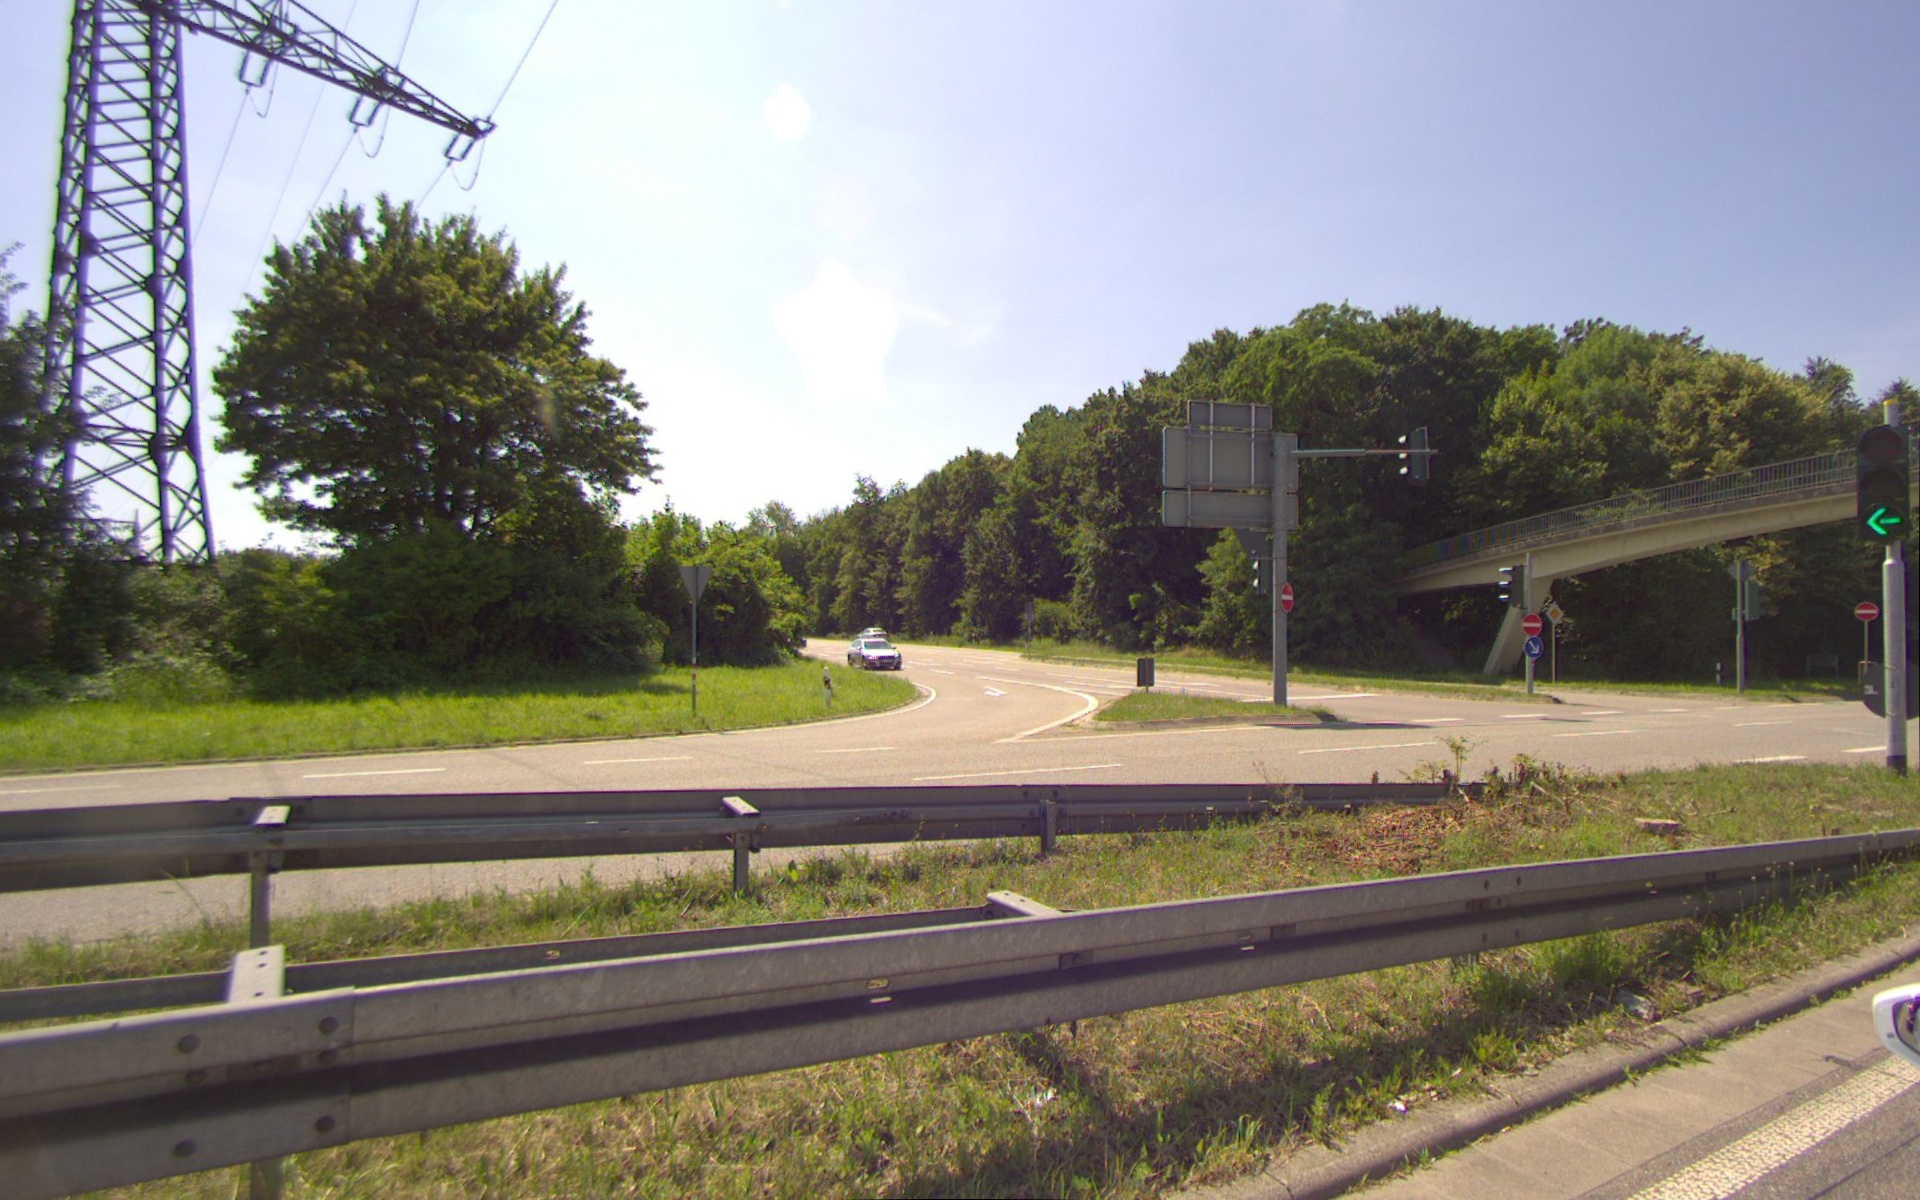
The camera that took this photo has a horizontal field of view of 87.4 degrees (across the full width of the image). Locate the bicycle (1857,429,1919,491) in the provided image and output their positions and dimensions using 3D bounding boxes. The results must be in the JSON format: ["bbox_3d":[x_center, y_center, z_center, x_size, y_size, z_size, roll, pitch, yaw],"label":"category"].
[{"bbox_3d":[27.130,-4.051,29.212,0.461,1.493,1.528,2,-4,-13],"label":"bicycle"}]

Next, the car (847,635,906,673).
[{"bbox_3d":[-4.093,2.559,48.525,2.014,1.596,4.652,-2,-1,-15],"label":"car"}]

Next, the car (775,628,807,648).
[{"bbox_3d":[-14.276,3.223,84.882,1.716,1.552,4.145,-2,-1,-23],"label":"car"}]

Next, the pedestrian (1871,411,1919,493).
[{"bbox_3d":[27.431,-4.308,29.344,0.916,2.167,0.783,2,-3,-13],"label":"pedestrian"}]

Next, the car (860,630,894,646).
[{"bbox_3d":[-7.537,3.429,90.567,1.969,1.391,4.762,1,-2,-19],"label":"car"}]
